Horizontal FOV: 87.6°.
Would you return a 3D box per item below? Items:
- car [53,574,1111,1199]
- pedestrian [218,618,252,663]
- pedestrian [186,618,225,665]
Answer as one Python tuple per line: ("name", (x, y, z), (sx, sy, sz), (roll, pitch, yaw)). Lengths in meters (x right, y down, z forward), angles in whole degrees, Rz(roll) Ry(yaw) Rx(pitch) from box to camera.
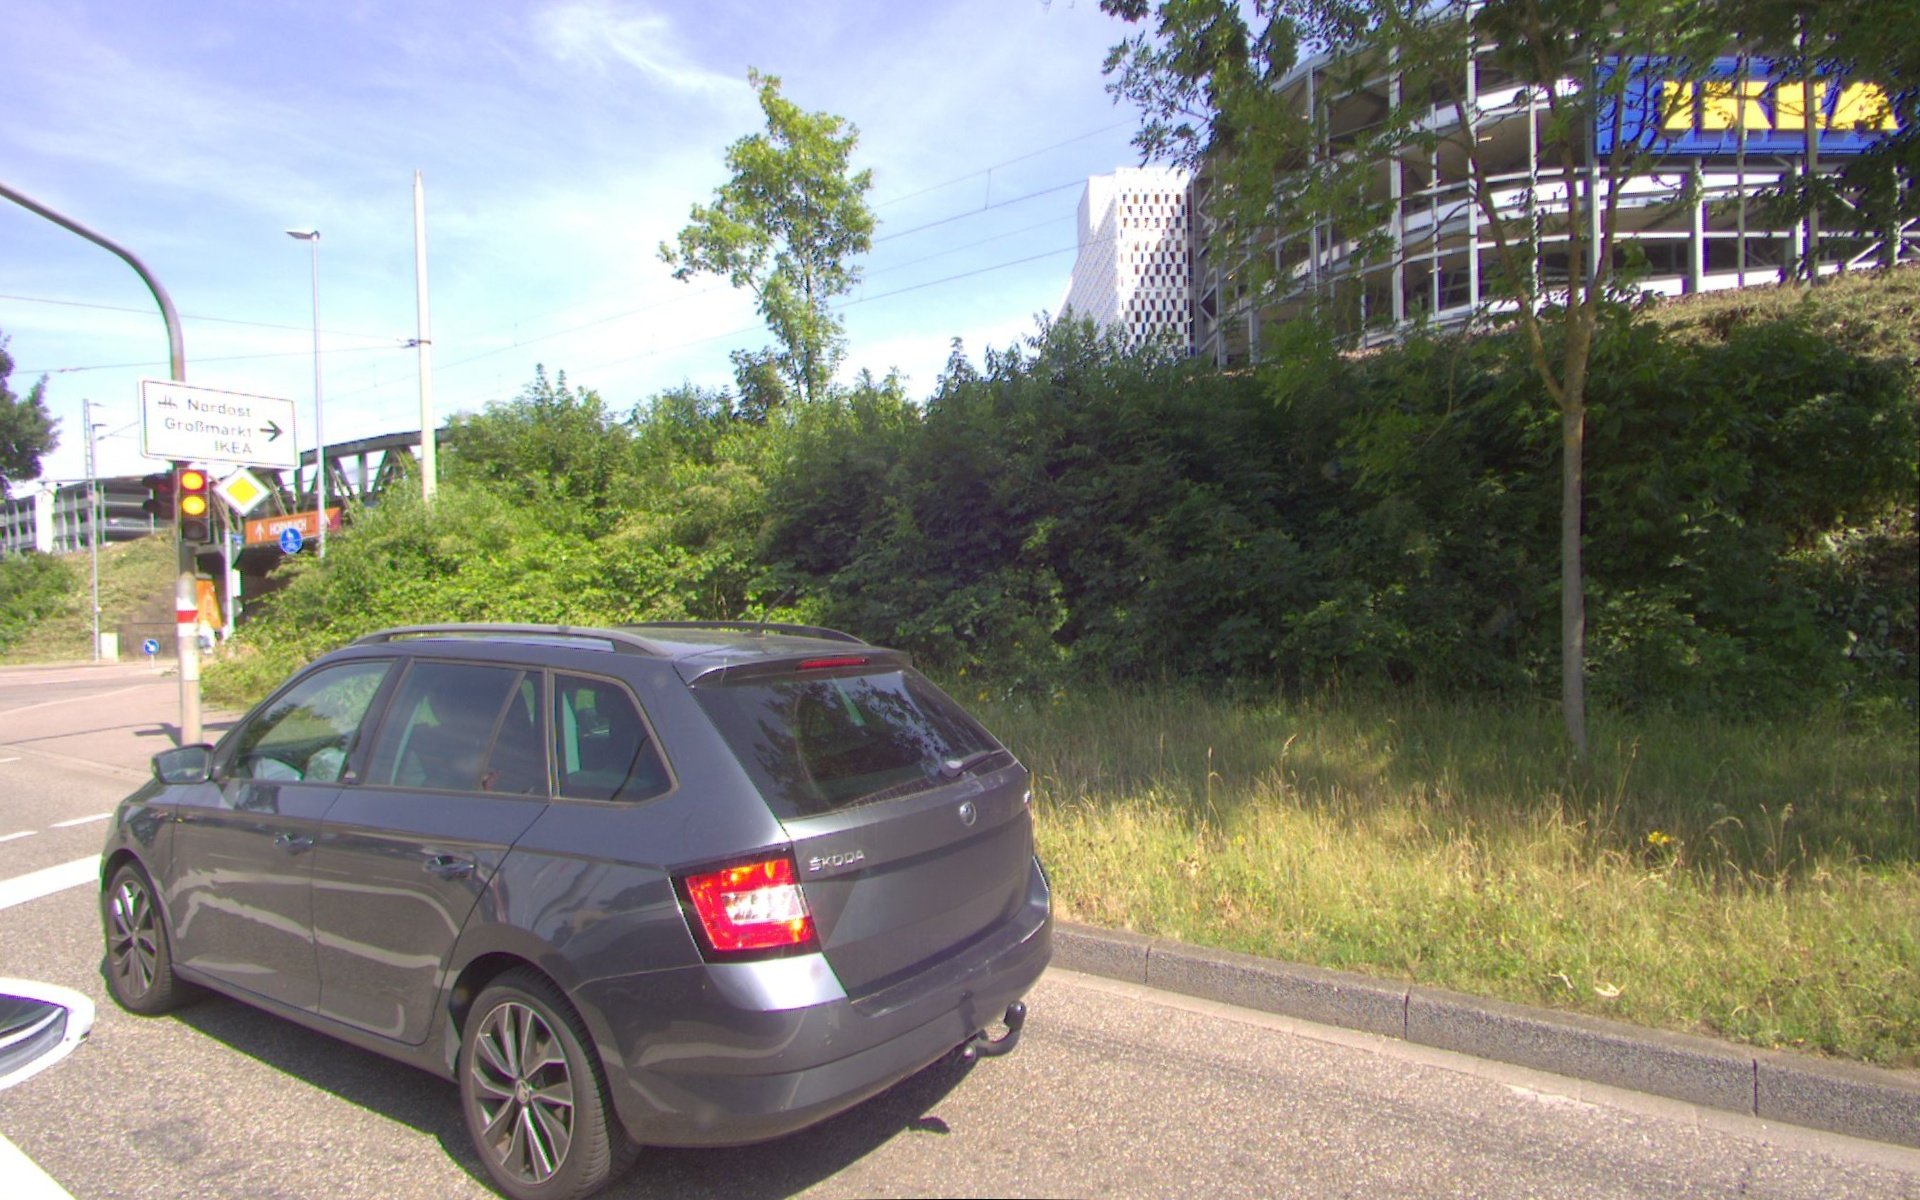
("car", (-1.602, 0.739, 3.762), (3.978, 1.472, 1.671), (-1, -2, 32))
("pedestrian", (-26.009, 1.453, 35.929), (0.766, 1.600, 0.728), (-1, 0, 32))
("pedestrian", (-26.422, 1.442, 35.077), (0.766, 1.633, 0.866), (-1, 0, 32))
